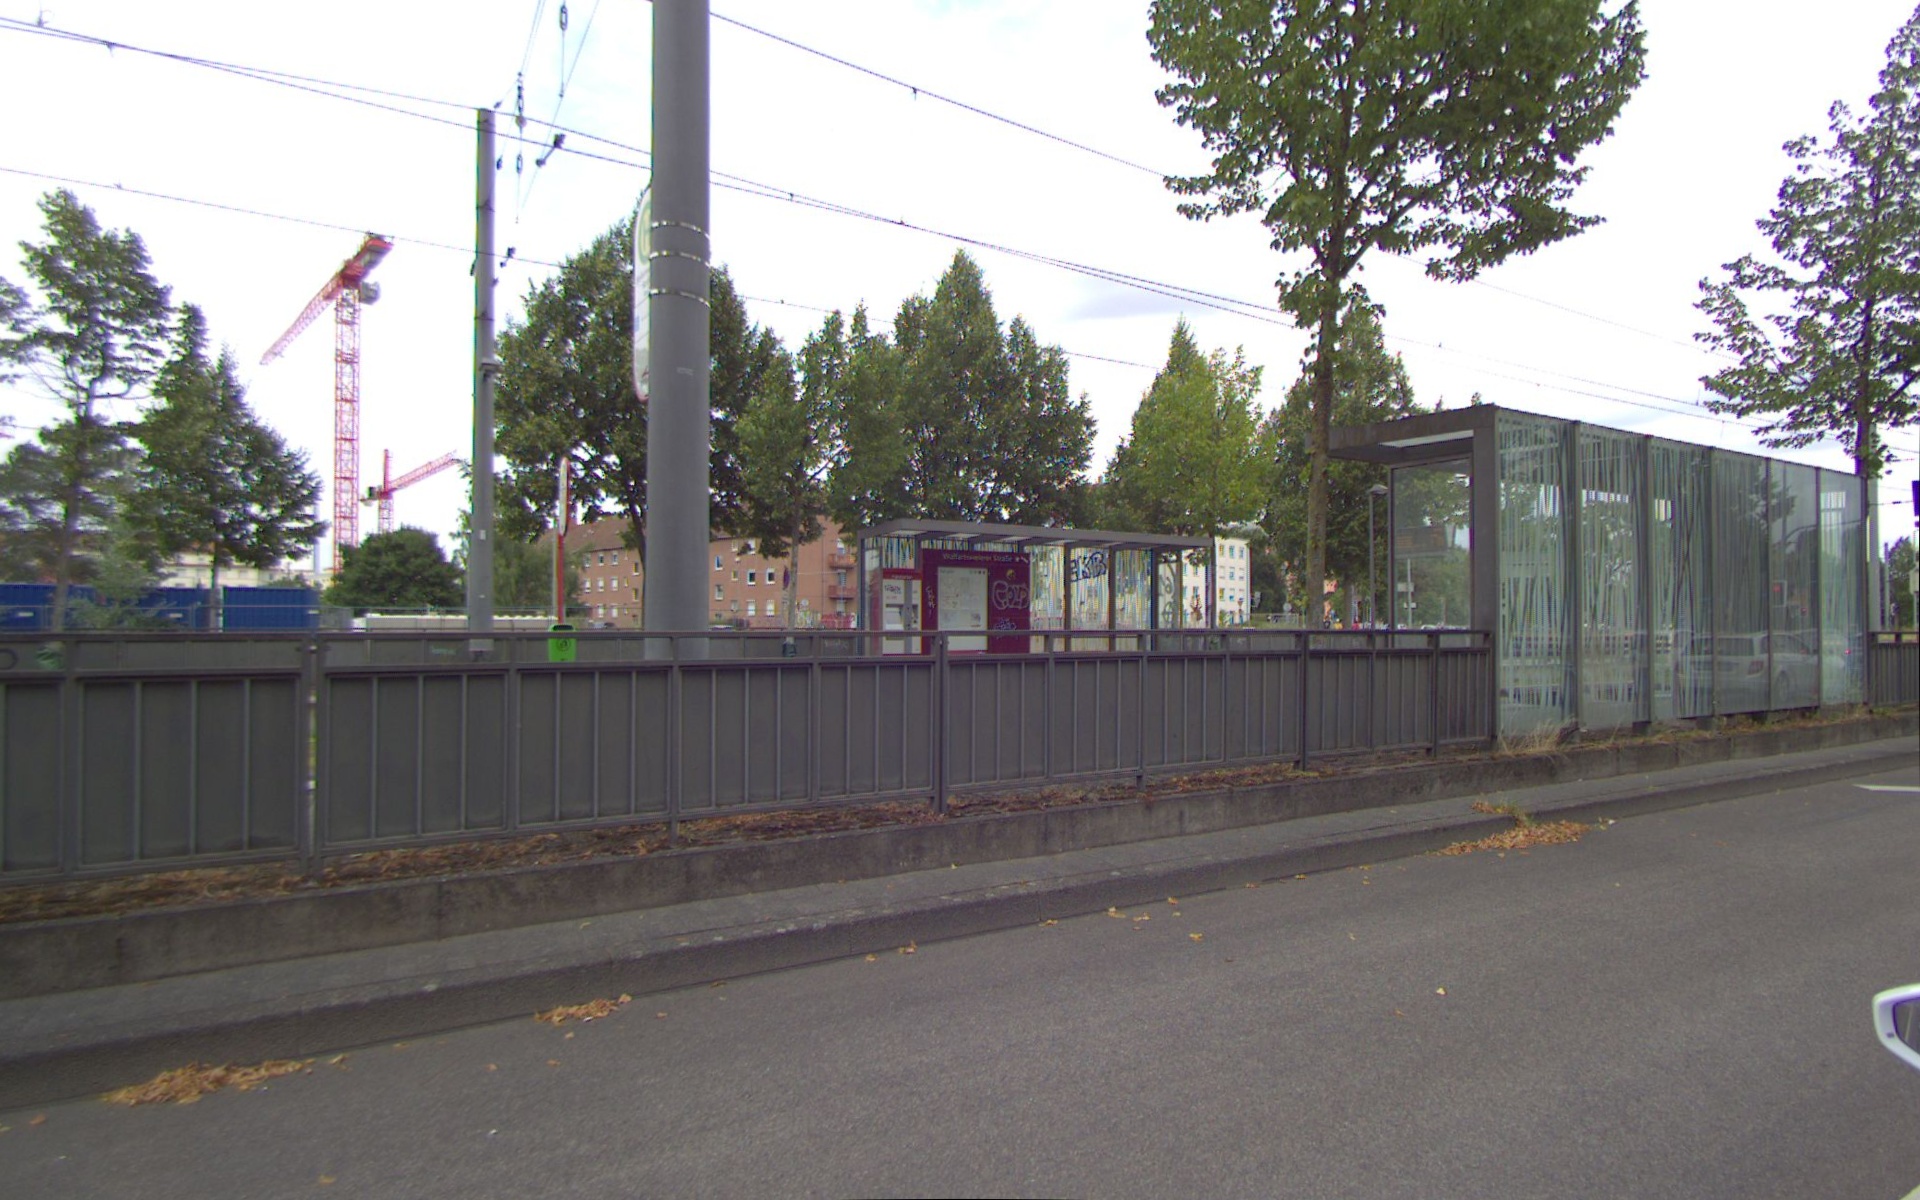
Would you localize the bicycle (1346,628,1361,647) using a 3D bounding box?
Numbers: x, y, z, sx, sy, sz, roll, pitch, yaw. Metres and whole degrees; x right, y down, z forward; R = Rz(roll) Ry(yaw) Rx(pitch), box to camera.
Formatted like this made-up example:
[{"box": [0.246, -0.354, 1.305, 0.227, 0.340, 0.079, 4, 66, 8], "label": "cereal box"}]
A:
[{"box": [24.899, 2.365, 63.649, 0.793, 1.144, 2.708, 0, -1, 20], "label": "bicycle"}]

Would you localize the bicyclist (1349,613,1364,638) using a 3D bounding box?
[{"box": [25.125, 1.608, 63.659, 0.874, 1.583, 0.750, 0, -1, 19], "label": "bicyclist"}]
